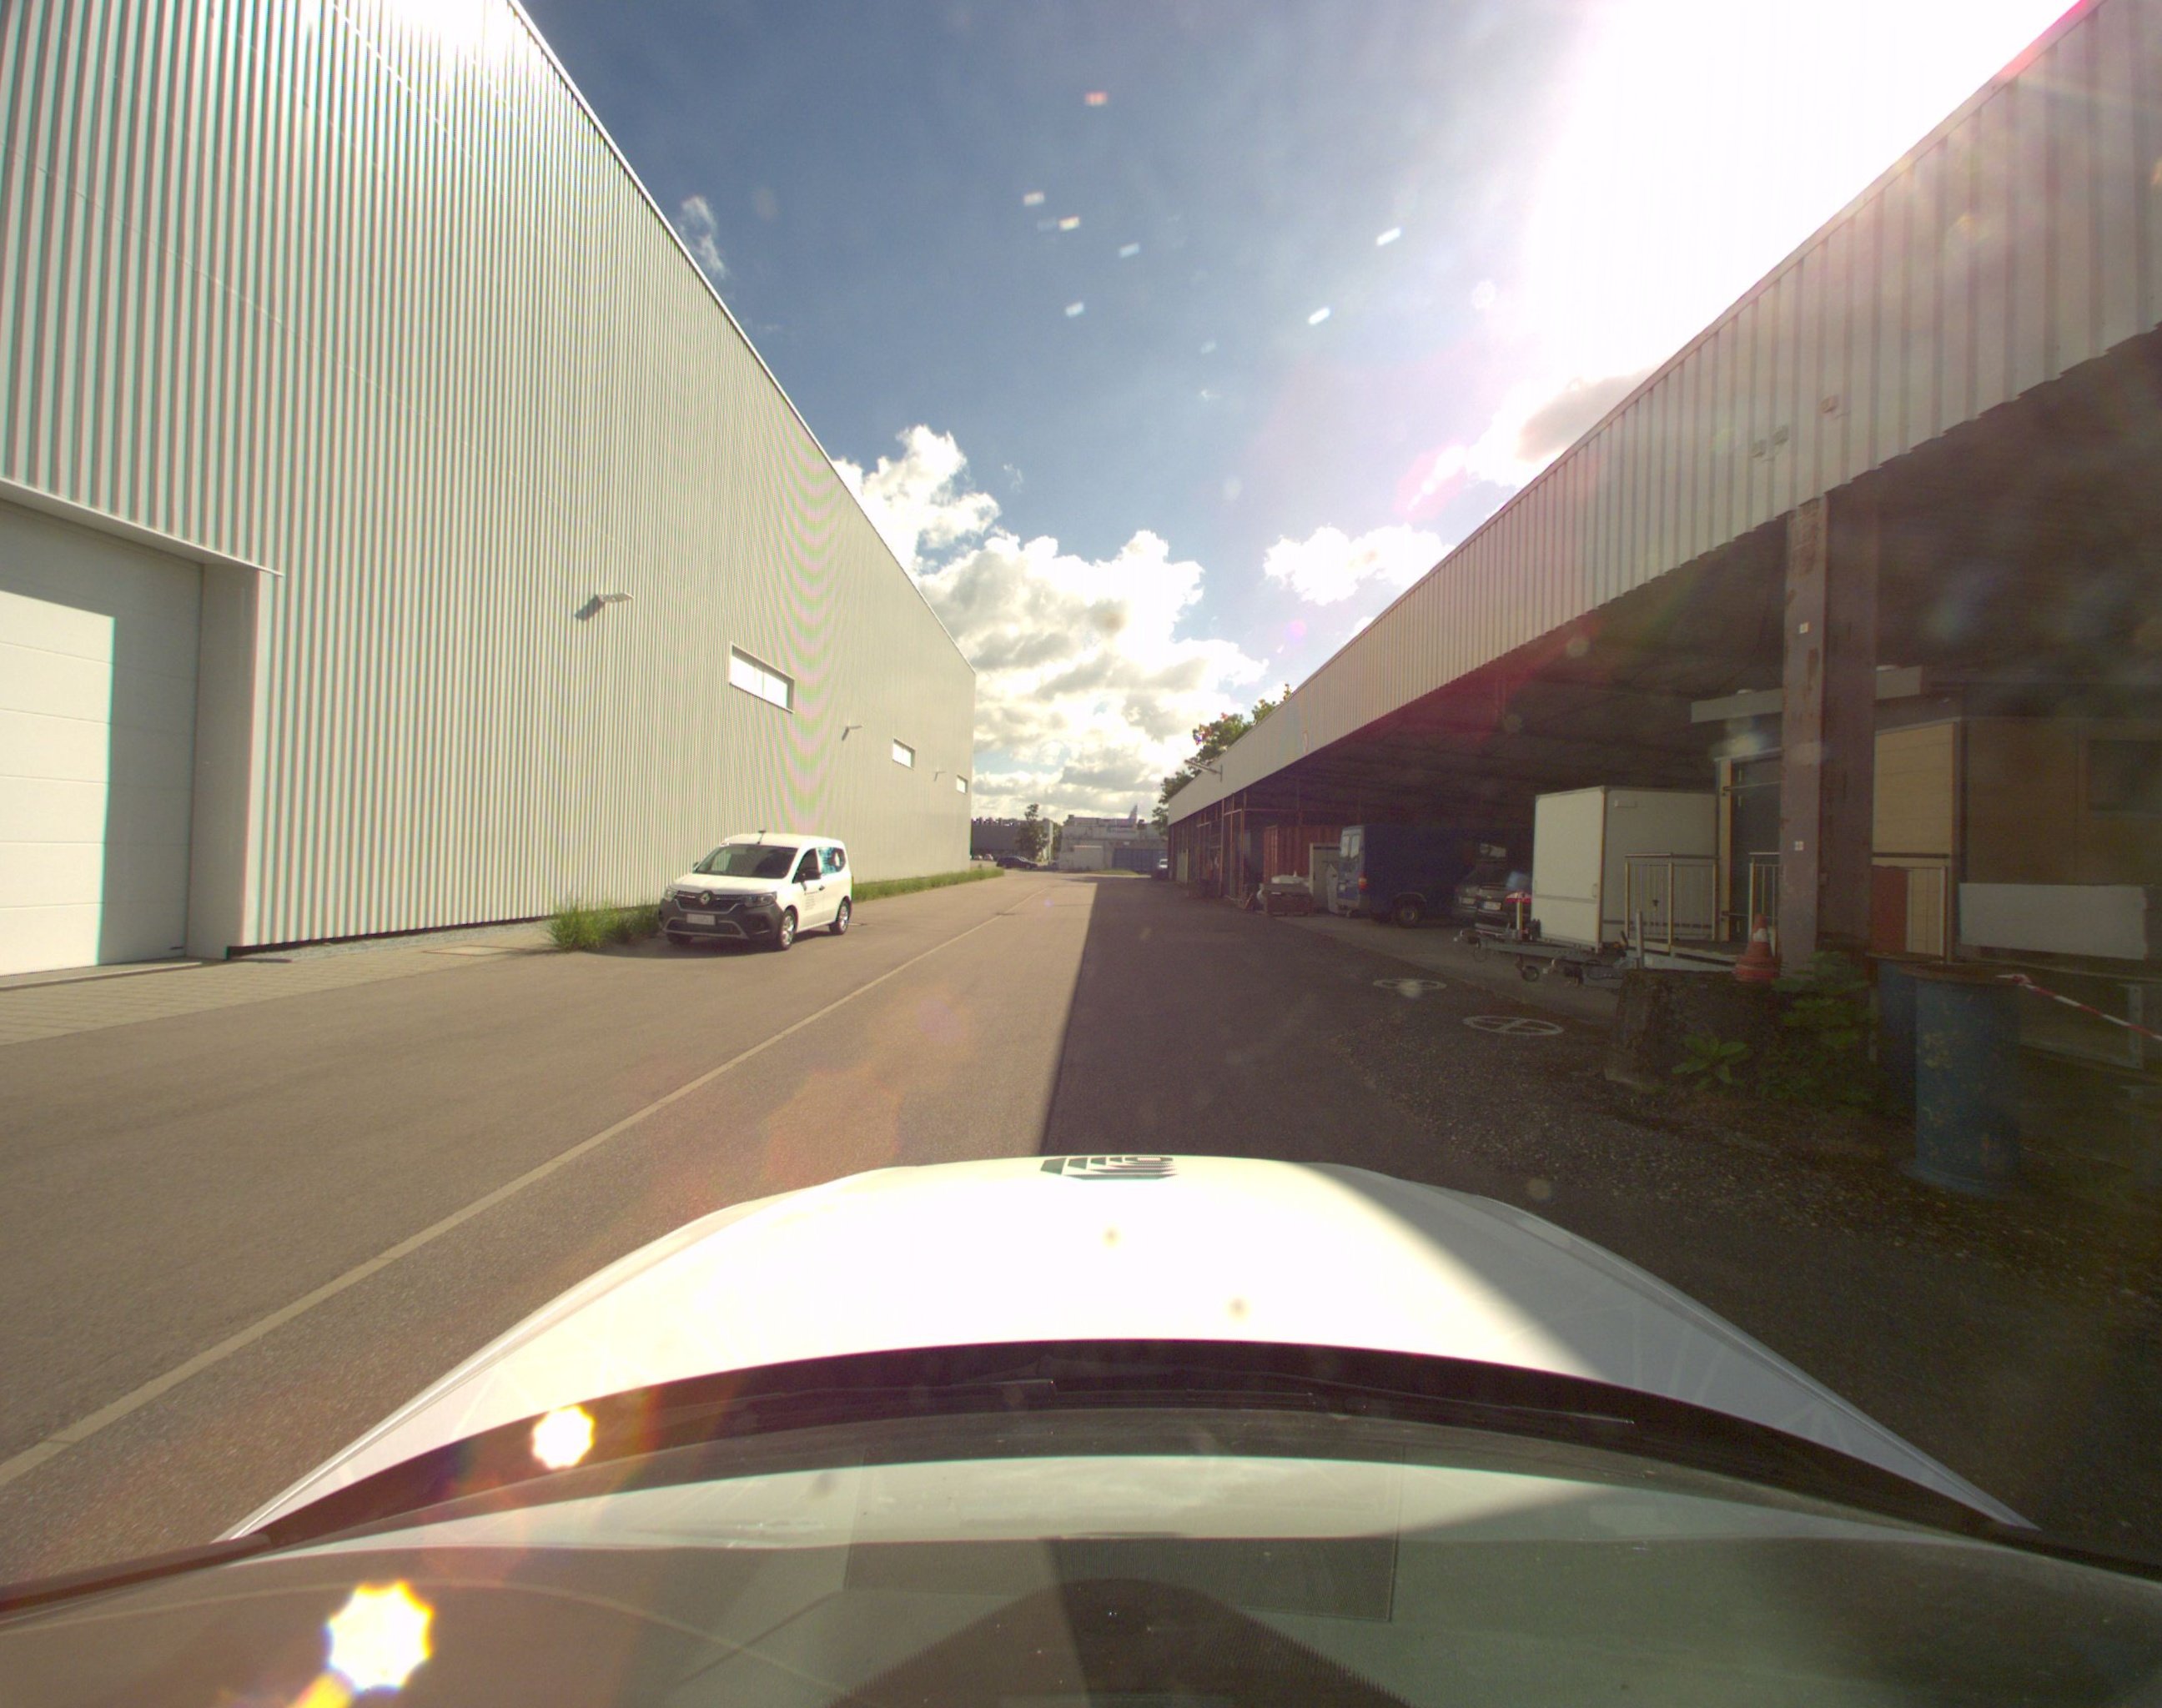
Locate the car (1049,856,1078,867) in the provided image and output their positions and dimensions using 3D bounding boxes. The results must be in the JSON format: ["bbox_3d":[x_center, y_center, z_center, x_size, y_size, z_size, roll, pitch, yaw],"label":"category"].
[{"bbox_3d":[-2.667,1.170,123.774,4.264,1.569,1.987,1,-2,1],"label":"car"}]

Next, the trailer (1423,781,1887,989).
[{"bbox_3d":[6.839,0.356,10.067,4.524,2.335,1.689,0,0,1],"label":"trailer"}]

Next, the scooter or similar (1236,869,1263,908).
[{"bbox_3d":[5.097,1.035,24.713,0.518,1.134,1.592,1,-1,1],"label":"scooter or similar"}]

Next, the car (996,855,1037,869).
[{"bbox_3d":[-7.583,0.955,96.065,4.513,1.443,1.987,1,-2,1],"label":"car"}]

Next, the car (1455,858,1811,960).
[{"bbox_3d":[8.395,0.794,12.646,4.333,1.433,1.863,0,-1,-3],"label":"car"}]

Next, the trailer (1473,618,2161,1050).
[{"bbox_3d":[9.408,-0.158,7.524,10.254,3.295,2.676,0,0,1],"label":"trailer"}]

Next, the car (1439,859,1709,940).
[{"bbox_3d":[9.348,0.835,15.695,4.093,1.454,1.850,0,-1,0],"label":"car"}]

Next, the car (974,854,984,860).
[{"bbox_3d":[-24.119,0.731,193.028,1.872,1.537,4.033,0,-1,-1],"label":"car"}]

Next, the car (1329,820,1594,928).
[{"bbox_3d":[8.675,0.455,18.905,5.199,2.297,2.084,1,-1,0],"label":"car"}]

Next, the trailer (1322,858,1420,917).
[{"bbox_3d":[7.617,0.862,21.515,2.085,1.462,1.643,1,-1,4],"label":"trailer"}]

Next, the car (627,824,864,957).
[{"bbox_3d":[-5.373,0.523,13.848,1.921,1.790,4.599,3,0,1],"label":"car"}]

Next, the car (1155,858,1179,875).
[{"bbox_3d":[8.763,1.263,83.326,1.974,1.593,4.341,2,1,1],"label":"car"}]

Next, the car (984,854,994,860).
[{"bbox_3d":[-21.794,0.727,193.230,1.872,1.537,4.033,0,-1,-1],"label":"car"}]
